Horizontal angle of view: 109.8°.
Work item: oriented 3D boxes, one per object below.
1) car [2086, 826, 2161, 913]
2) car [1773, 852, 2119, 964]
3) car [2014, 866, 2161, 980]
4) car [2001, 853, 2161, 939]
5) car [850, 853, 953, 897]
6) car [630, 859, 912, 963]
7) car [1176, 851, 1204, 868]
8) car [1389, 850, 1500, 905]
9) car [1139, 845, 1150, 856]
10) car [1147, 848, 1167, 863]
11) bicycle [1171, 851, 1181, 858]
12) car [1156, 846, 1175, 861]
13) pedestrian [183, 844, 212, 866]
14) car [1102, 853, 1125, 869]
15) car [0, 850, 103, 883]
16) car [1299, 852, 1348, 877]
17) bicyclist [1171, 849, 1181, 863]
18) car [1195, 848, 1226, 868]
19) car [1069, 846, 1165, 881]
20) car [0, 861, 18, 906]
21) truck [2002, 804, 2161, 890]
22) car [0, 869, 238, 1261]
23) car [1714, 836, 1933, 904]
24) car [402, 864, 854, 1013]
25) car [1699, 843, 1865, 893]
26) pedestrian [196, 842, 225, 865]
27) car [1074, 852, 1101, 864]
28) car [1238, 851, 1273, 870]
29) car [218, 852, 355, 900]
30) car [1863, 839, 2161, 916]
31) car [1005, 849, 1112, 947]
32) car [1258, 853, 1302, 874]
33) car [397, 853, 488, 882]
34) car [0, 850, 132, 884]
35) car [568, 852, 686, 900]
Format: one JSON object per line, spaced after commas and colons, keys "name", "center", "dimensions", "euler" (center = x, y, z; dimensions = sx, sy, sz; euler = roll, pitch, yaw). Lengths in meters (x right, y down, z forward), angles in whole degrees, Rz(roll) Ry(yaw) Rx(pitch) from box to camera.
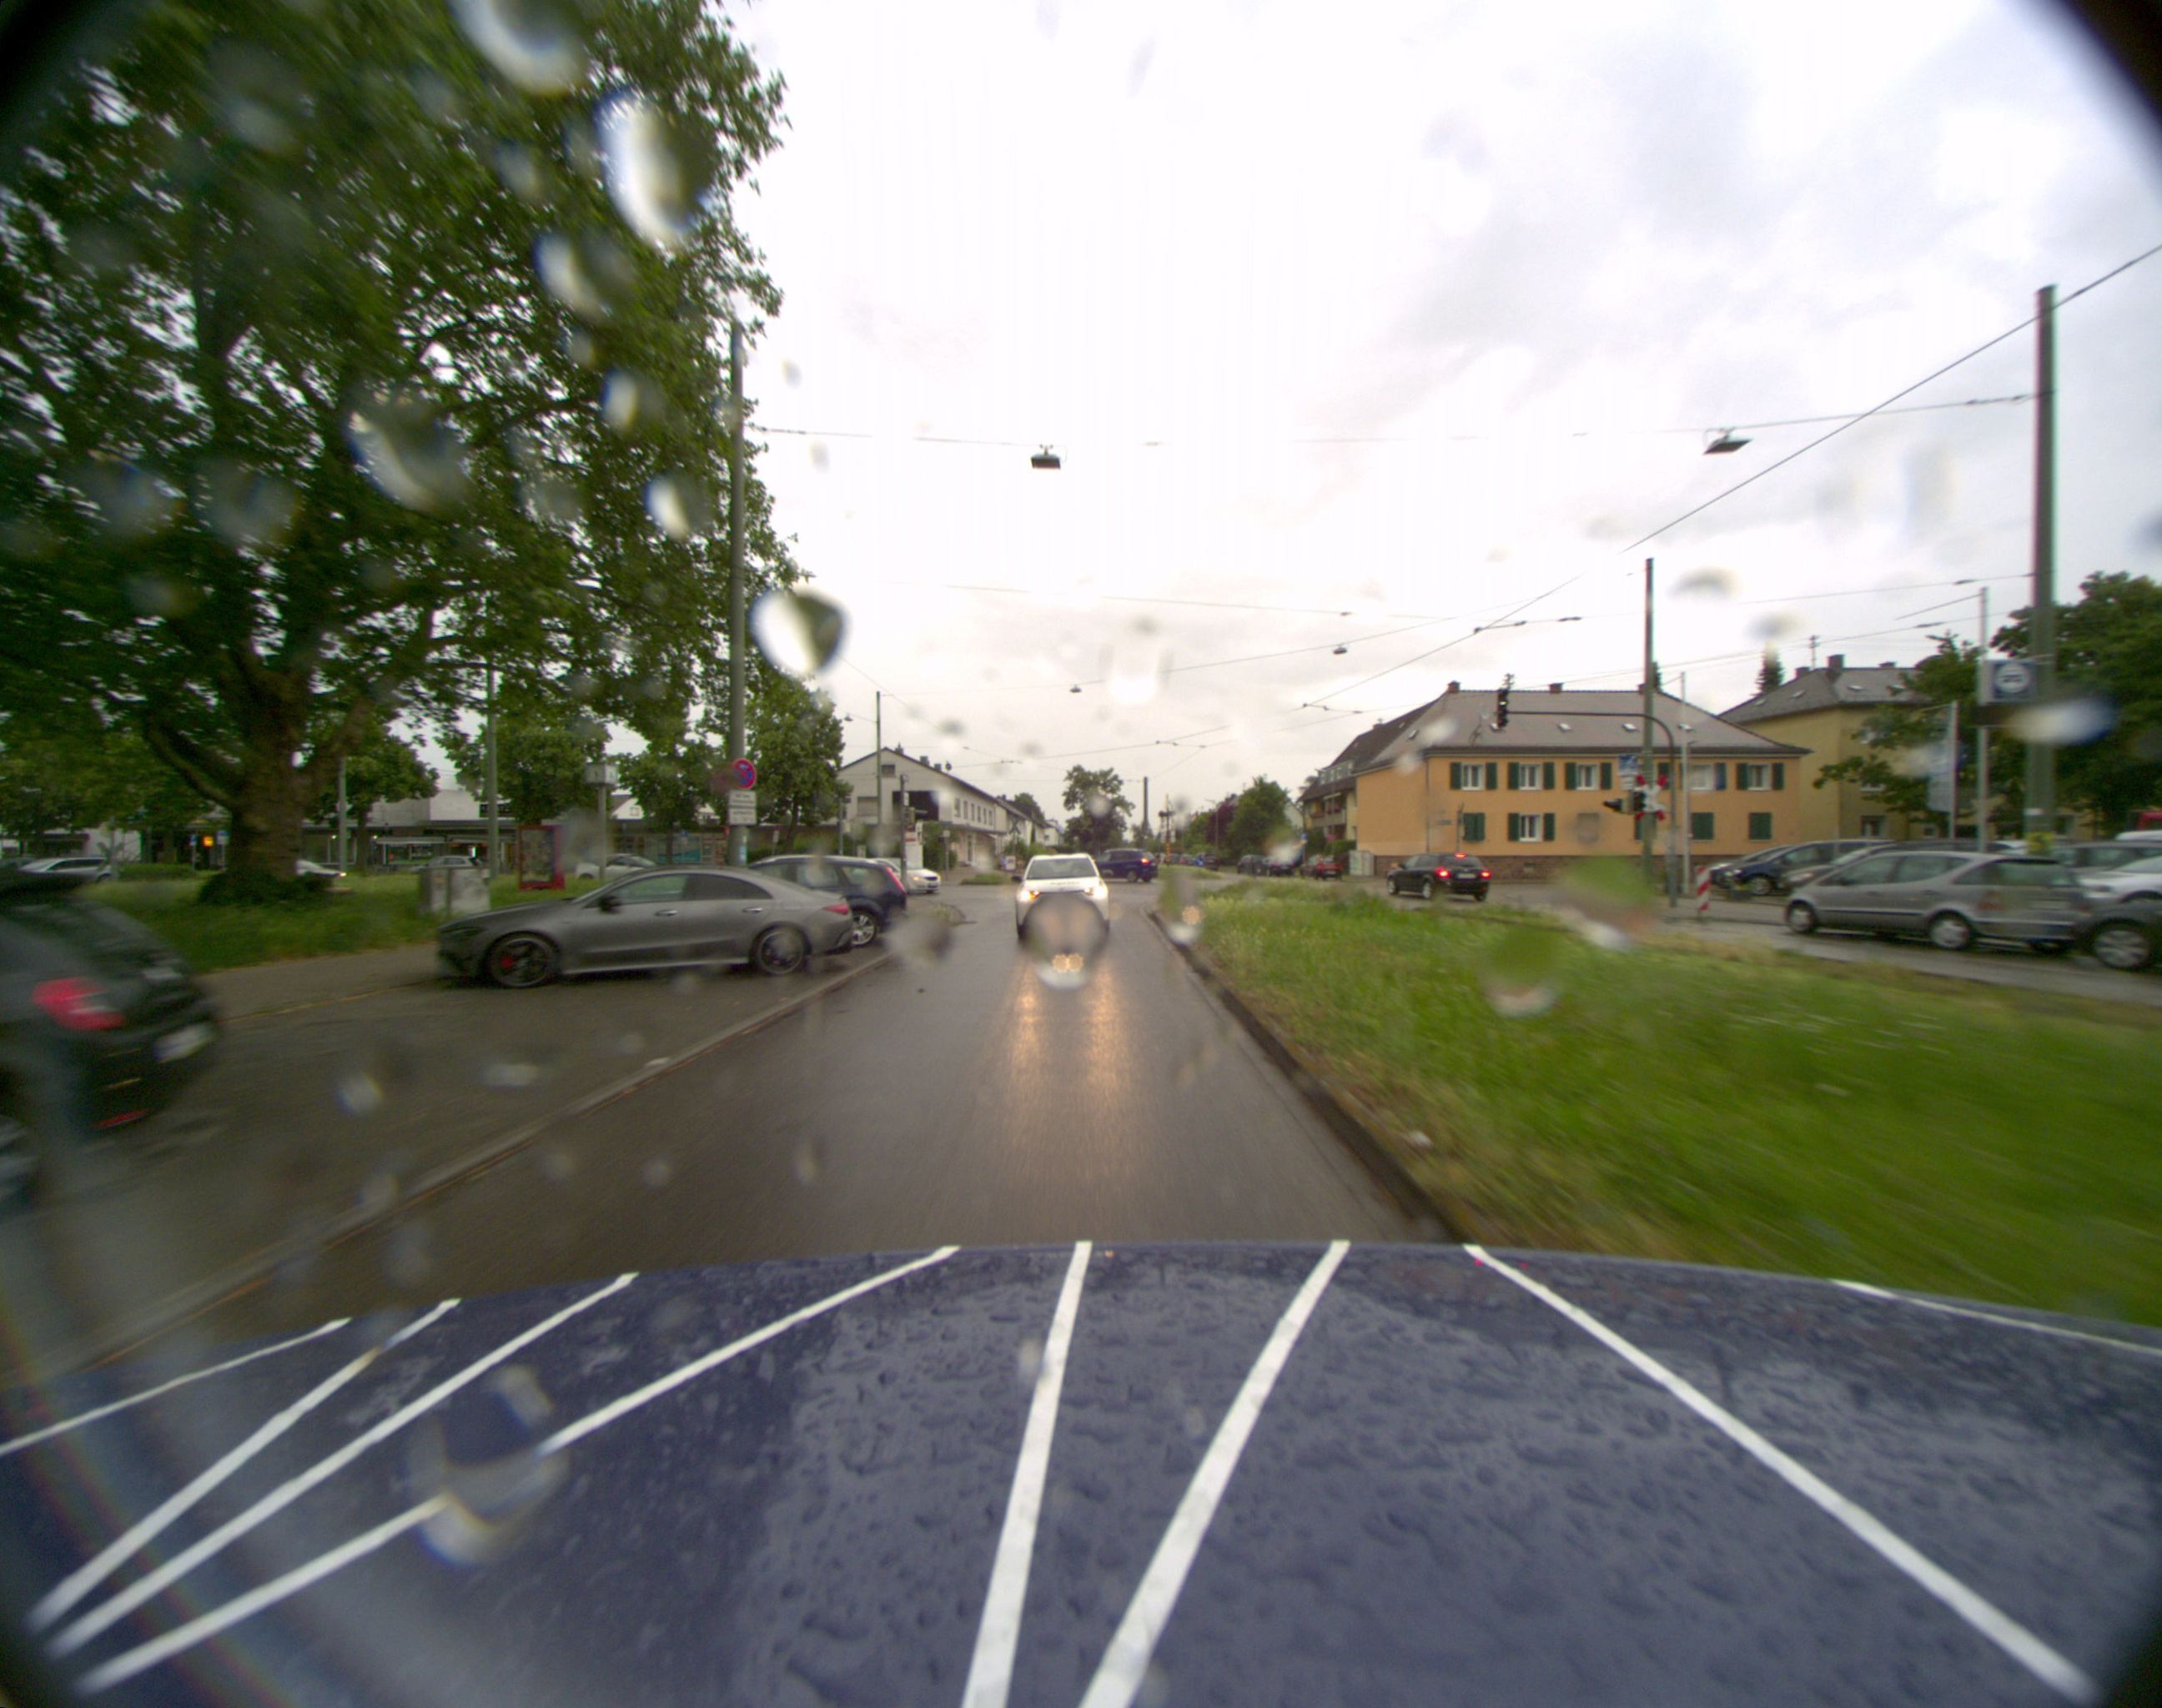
{"name": "car", "center": [25.749, 0.372, 16.521], "dimensions": [1.998, 2.002, 4.448], "euler": [1, 0, 3]}
{"name": "car", "center": [14.337, 0.793, 12.964], "dimensions": [1.721, 1.496, 3.642], "euler": [0, 2, 1]}
{"name": "car", "center": [14.257, 0.925, 8.705], "dimensions": [1.721, 1.331, 4.387], "euler": [0, 2, 1]}
{"name": "car", "center": [20.853, 0.775, 14.337], "dimensions": [4.049, 1.496, 1.835], "euler": [0, 3, 18]}
{"name": "car", "center": [-7.299, 0.795, 30.710], "dimensions": [3.987, 1.544, 1.968], "euler": [3, 2, 38]}
{"name": "car", "center": [-5.178, 0.841, 12.883], "dimensions": [4.183, 1.467, 1.800], "euler": [0, 0, -29]}
{"name": "car", "center": [10.138, 0.481, 70.793], "dimensions": [1.999, 1.467, 4.000], "euler": [0, 0, 0]}
{"name": "car", "center": [11.409, 0.678, 24.142], "dimensions": [1.740, 1.478, 3.999], "euler": [0, 2, 3]}
{"name": "car", "center": [12.633, -0.791, 151.735], "dimensions": [1.998, 2.023, 3.998], "euler": [0, 3, 2]}
{"name": "car", "center": [8.741, 0.143, 87.880], "dimensions": [1.998, 1.578, 3.998], "euler": [0, 2, 1]}
{"name": "bicycle", "center": [10.662, 0.094, 85.441], "dimensions": [0.942, 0.782, 1.820], "euler": [0, 0, 0]}
{"name": "car", "center": [10.880, -0.118, 97.807], "dimensions": [1.999, 1.784, 3.998], "euler": [0, 2, -1]}
{"name": "pedestrian", "center": [-65.864, 0.062, 56.645], "dimensions": [0.946, 1.575, 1.081], "euler": [1, 1, 13]}
{"name": "car", "center": [3.375, 0.661, 77.564], "dimensions": [1.787, 1.454, 4.002], "euler": [0, 3, 11]}
{"name": "car", "center": [-58.103, 0.654, 42.404], "dimensions": [1.792, 1.664, 3.947], "euler": [-1, 2, 2]}
{"name": "car", "center": [14.634, 0.605, 45.982], "dimensions": [1.722, 1.331, 3.615], "euler": [0, 2, -2]}
{"name": "bicyclist", "center": [10.657, 0.236, 85.457], "dimensions": [0.949, 1.588, 1.042], "euler": [0, 0, 0]}
{"name": "car", "center": [12.727, 0.366, 74.734], "dimensions": [2.000, 1.784, 3.996], "euler": [-1, 3, -6]}
{"name": "car", "center": [1.838, 0.462, 39.093], "dimensions": [4.559, 1.597, 2.003], "euler": [1, 3, 32]}
{"name": "car", "center": [-50.729, 1.362, 33.812], "dimensions": [3.996, 2.003, 1.999], "euler": [0, 3, 3]}
{"name": "truck", "center": [30.117, -0.162, 21.729], "dimensions": [1.995, 2.259, 6.112], "euler": [1, 0, 21]}
{"name": "car", "center": [-6.099, 0.840, 2.908], "dimensions": [3.524, 1.497, 1.749], "euler": [1, 1, -35]}
{"name": "car", "center": [20.186, 0.405, 20.937], "dimensions": [3.988, 1.707, 2.004], "euler": [0, 0, 33]}
{"name": "car", "center": [-5.420, 0.900, 9.730], "dimensions": [4.556, 1.467, 1.800], "euler": [0, 0, -28]}
{"name": "car", "center": [23.231, 0.446, 25.396], "dimensions": [3.861, 1.569, 1.811], "euler": [0, 0, 33]}
{"name": "pedestrian", "center": [-64.481, -0.033, 56.280], "dimensions": [0.946, 1.704, 1.081], "euler": [1, 1, 13]}
{"name": "car", "center": [0.908, 0.541, 113.038], "dimensions": [3.997, 1.673, 1.999], "euler": [0, 3, 0]}
{"name": "car", "center": [13.907, 0.508, 60.861], "dimensions": [1.759, 1.325, 3.997], "euler": [0, 2, -2]}
{"name": "car", "center": [-35.513, 0.950, 34.031], "dimensions": [3.996, 2.003, 1.999], "euler": [0, 3, 3]}
{"name": "car", "center": [20.819, 0.449, 17.138], "dimensions": [4.047, 1.496, 1.836], "euler": [1, 3, 29]}
{"name": "car", "center": [-0.316, 0.756, 15.117], "dimensions": [1.719, 1.614, 3.715], "euler": [-2, 1, 4]}
{"name": "car", "center": [14.295, 0.637, 54.924], "dimensions": [1.966, 1.388, 4.504], "euler": [0, 1, -1]}
{"name": "car", "center": [-36.721, 0.765, 43.799], "dimensions": [3.625, 1.495, 1.549], "euler": [-1, 3, -15]}
{"name": "car", "center": [-55.873, 0.673, 41.682], "dimensions": [1.998, 1.664, 4.337], "euler": [-1, 2, 2]}
{"name": "car", "center": [-20.208, 0.962, 33.928], "dimensions": [3.996, 2.003, 1.999], "euler": [0, 3, 1]}
